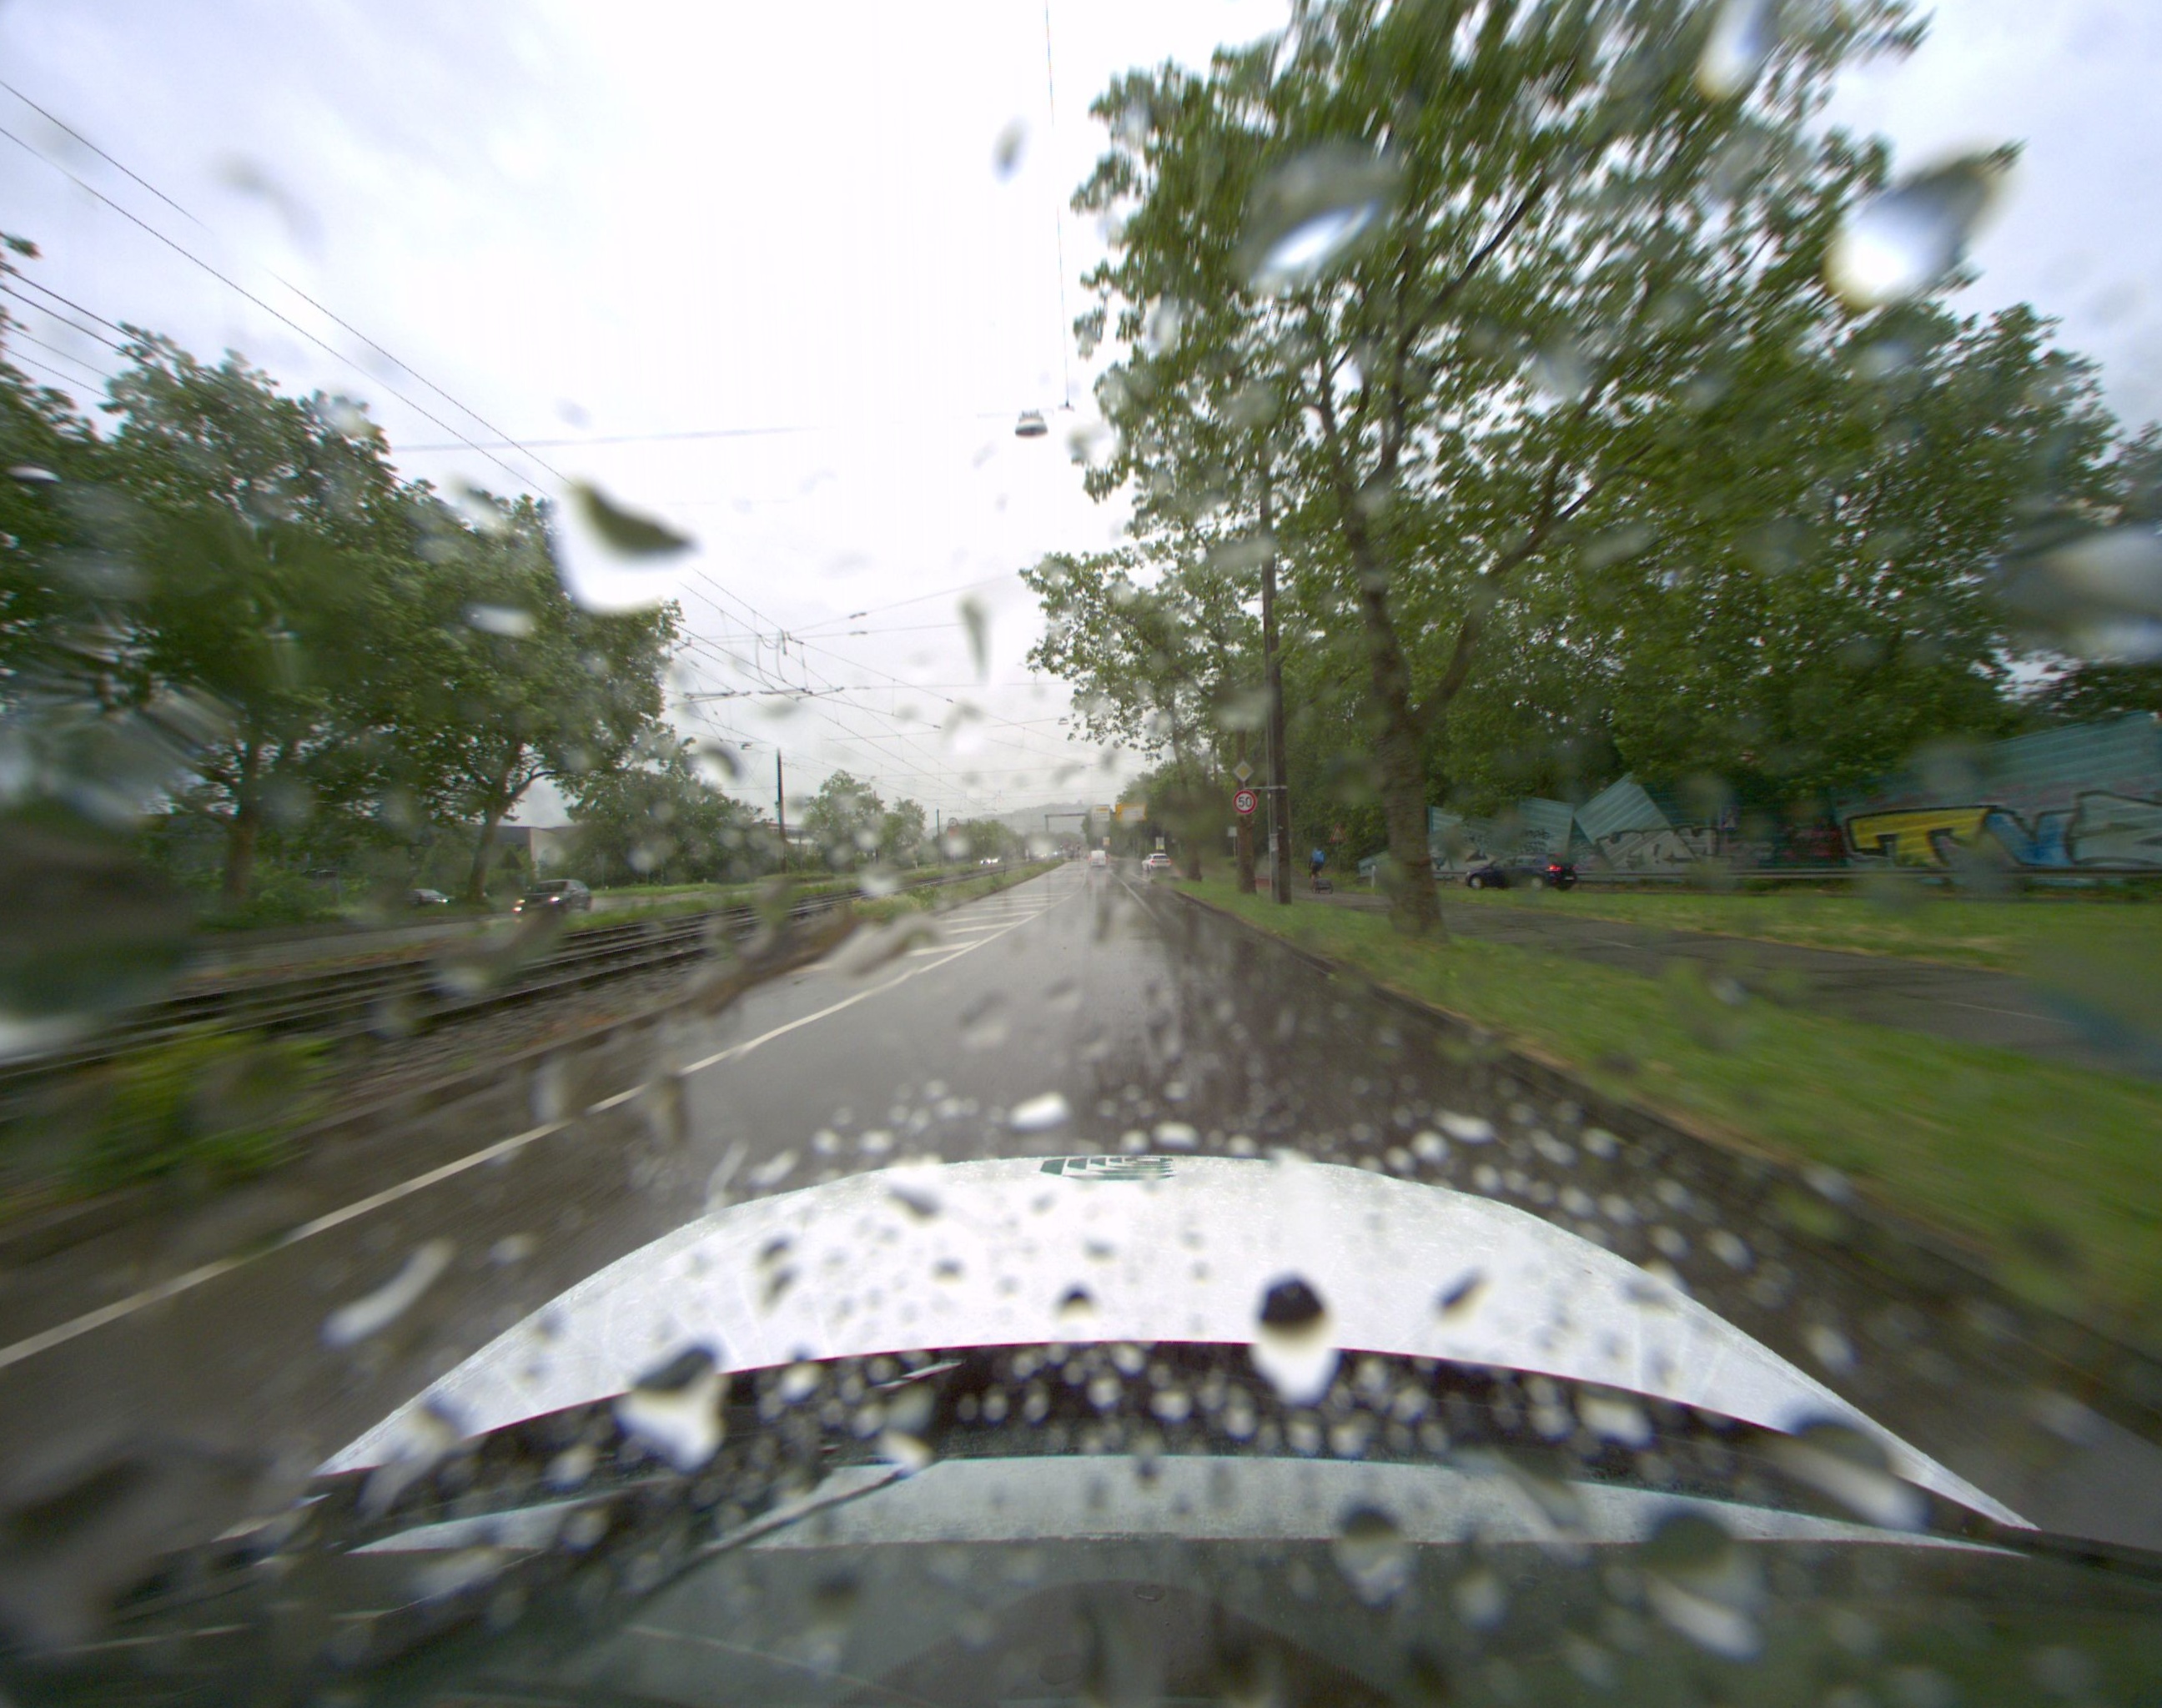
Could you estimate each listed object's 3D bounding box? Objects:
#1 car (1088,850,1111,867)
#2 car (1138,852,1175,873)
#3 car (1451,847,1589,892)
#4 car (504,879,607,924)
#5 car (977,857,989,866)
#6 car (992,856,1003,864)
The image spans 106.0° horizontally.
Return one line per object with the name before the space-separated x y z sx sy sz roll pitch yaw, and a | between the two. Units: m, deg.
car | 1.730 0.442 77.230 2.071 1.420 4.000 -3 0 0
car | 5.949 0.640 64.871 1.947 1.536 4.455 -2 0 -7
car | 16.863 0.583 31.540 1.872 1.536 4.479 -2 0 -25
car | -21.574 1.913 33.649 1.646 1.568 4.046 -1 0 -1
car | -19.935 1.576 166.261 1.939 1.686 4.775 -2 0 -3
car | -16.910 1.243 165.552 1.939 1.616 4.983 -2 0 -3
